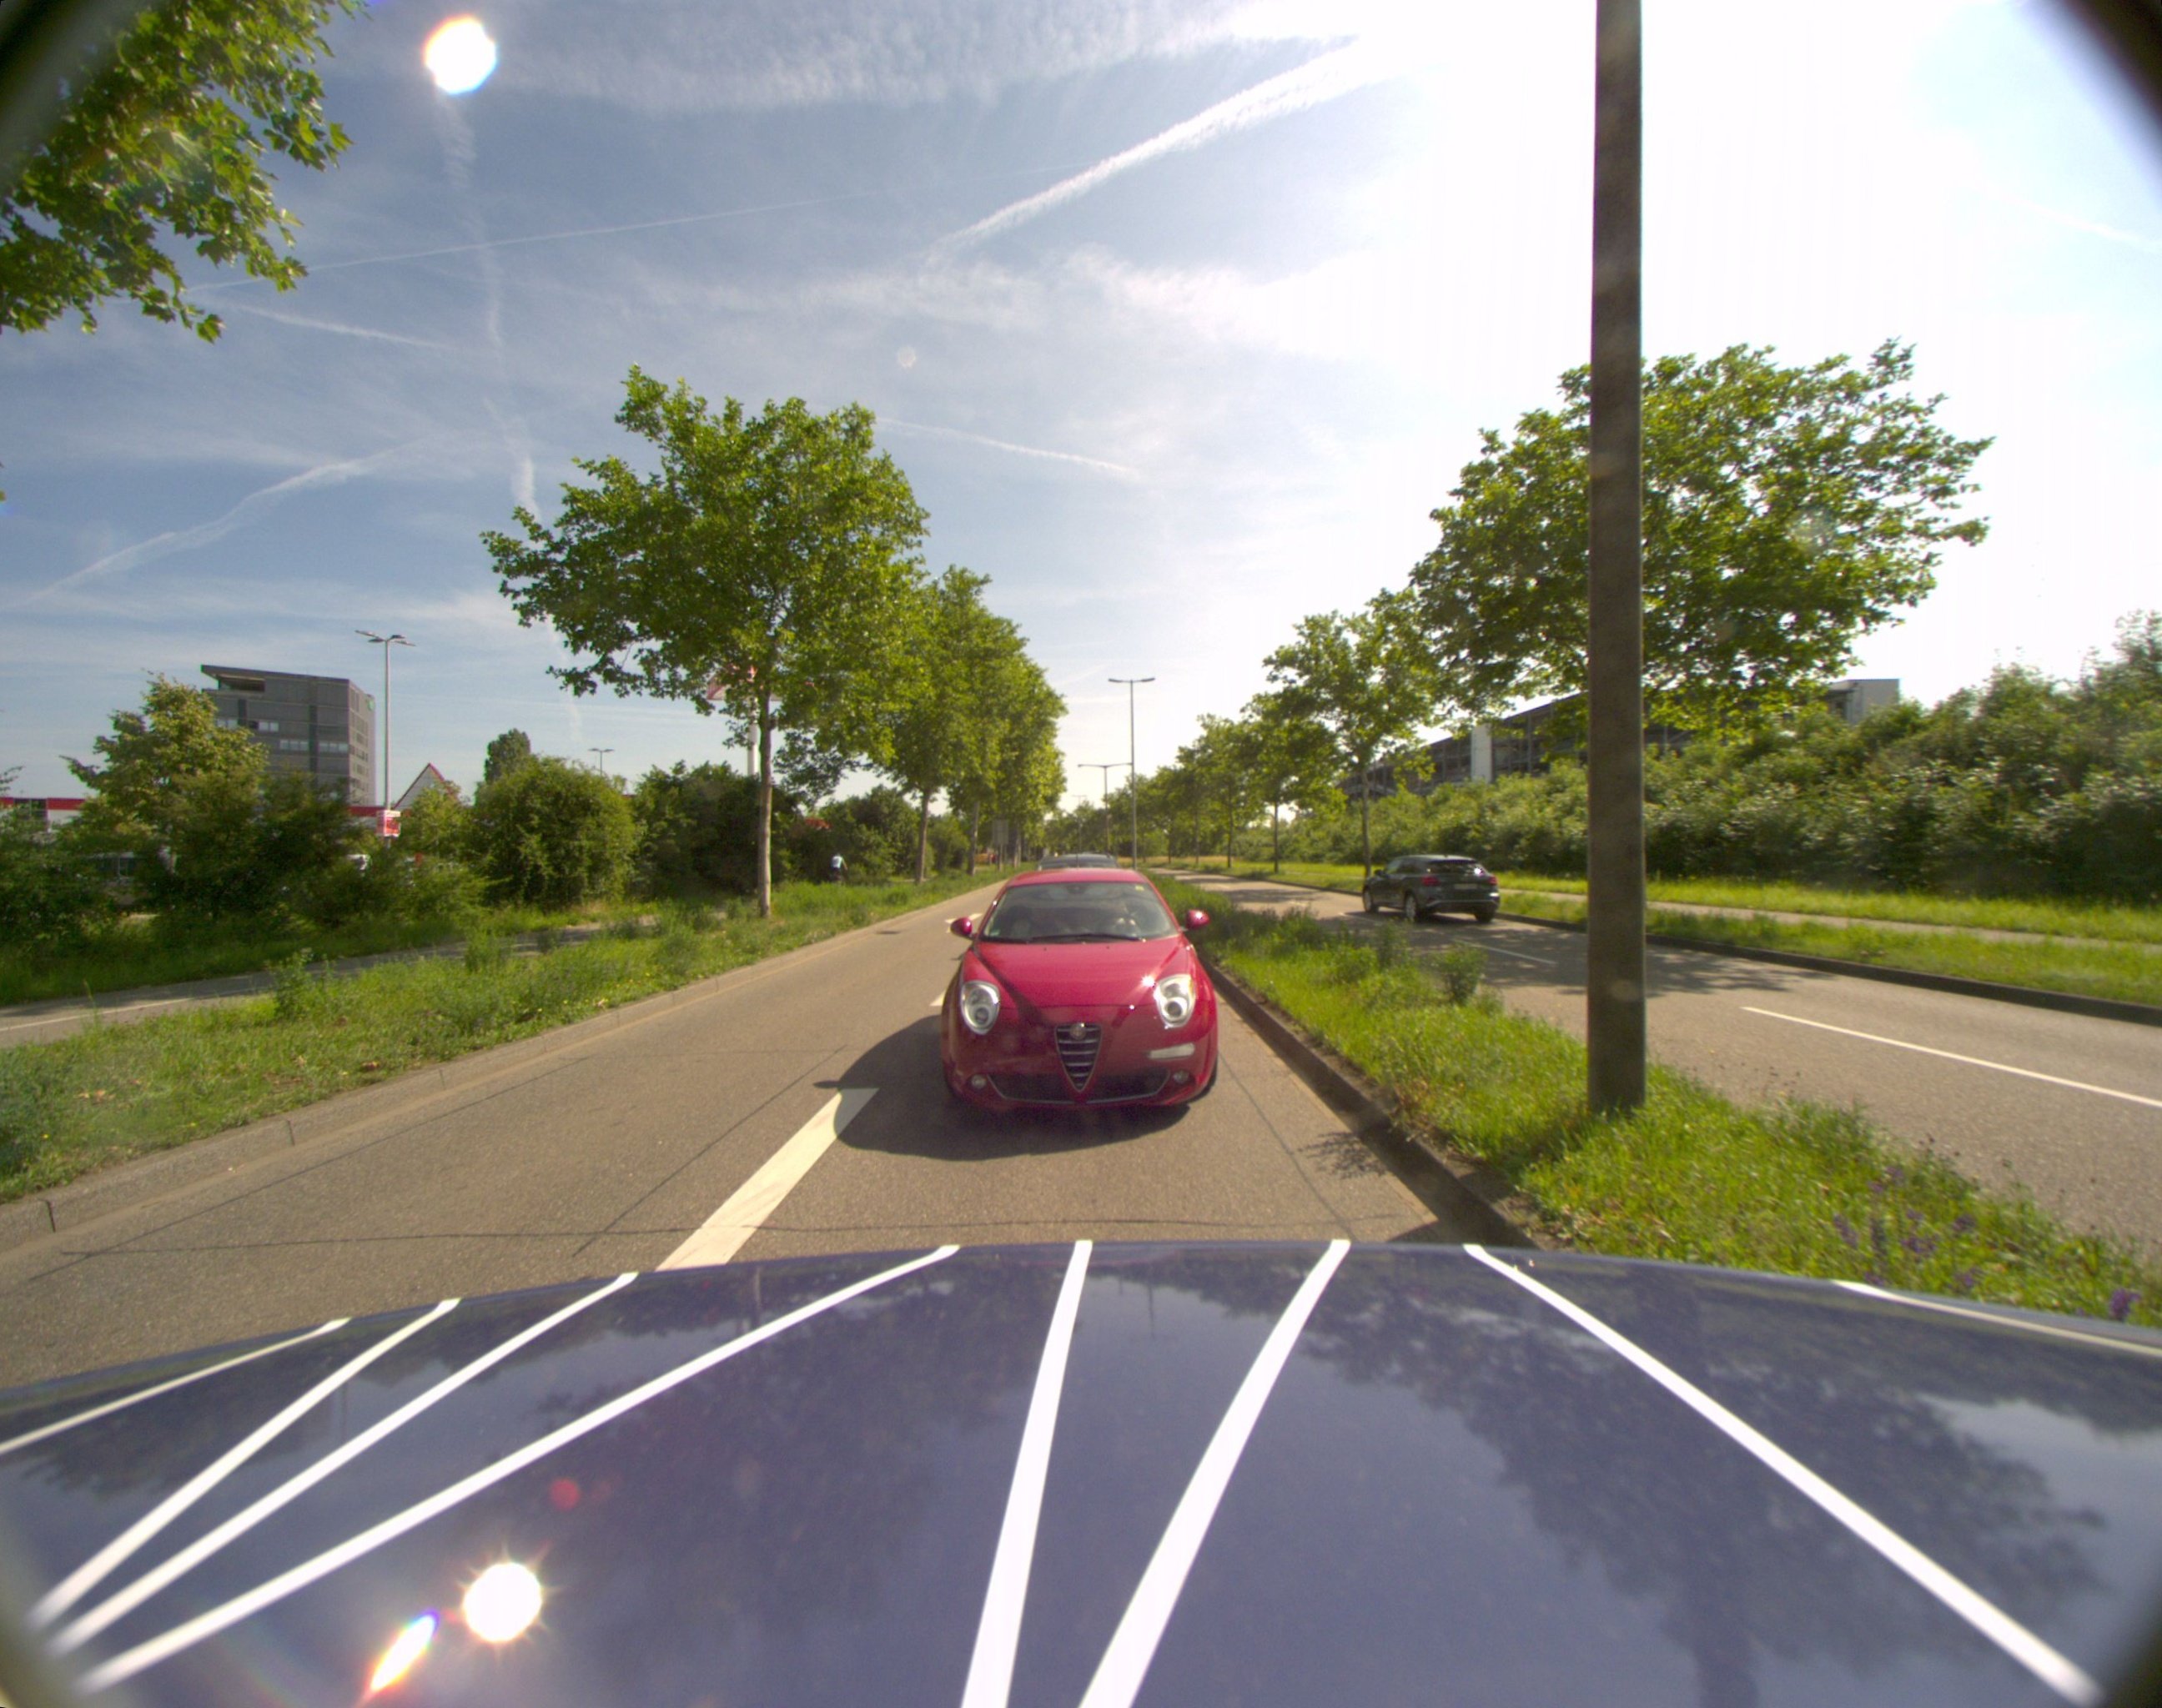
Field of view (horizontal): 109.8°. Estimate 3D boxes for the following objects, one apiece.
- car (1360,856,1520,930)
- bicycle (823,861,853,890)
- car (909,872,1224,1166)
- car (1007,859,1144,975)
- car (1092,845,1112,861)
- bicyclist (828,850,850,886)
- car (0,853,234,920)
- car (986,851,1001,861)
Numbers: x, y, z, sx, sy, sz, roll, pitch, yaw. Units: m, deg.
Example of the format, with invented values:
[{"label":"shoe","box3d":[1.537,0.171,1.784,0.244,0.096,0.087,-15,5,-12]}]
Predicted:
[{"label":"car","box3d":[8.202,0.817,17.797,1.868,1.459,3.937,-1,1,0]},{"label":"bicycle","box3d":[-10.898,0.945,34.184,0.687,1.230,1.934,0,1,1]},{"label":"car","box3d":[-0.051,0.945,6.077,1.658,1.430,3.908,-2,0,1]},{"label":"car","box3d":[-0.050,0.890,12.607,1.874,1.536,4.081,-1,0,1]},{"label":"car","box3d":[3.368,-0.179,121.485,2.065,2.396,5.533,0,0,-10]},{"label":"bicyclist","box3d":[-10.894,0.614,34.227,0.687,1.622,1.002,0,1,1]},{"label":"car","box3d":[-25.087,0.771,19.698,3.870,1.576,1.844,-1,1,-38]},{"label":"car","box3d":[-19.853,0.430,171.747,2.067,2.396,5.995,0,0,-20]}]
